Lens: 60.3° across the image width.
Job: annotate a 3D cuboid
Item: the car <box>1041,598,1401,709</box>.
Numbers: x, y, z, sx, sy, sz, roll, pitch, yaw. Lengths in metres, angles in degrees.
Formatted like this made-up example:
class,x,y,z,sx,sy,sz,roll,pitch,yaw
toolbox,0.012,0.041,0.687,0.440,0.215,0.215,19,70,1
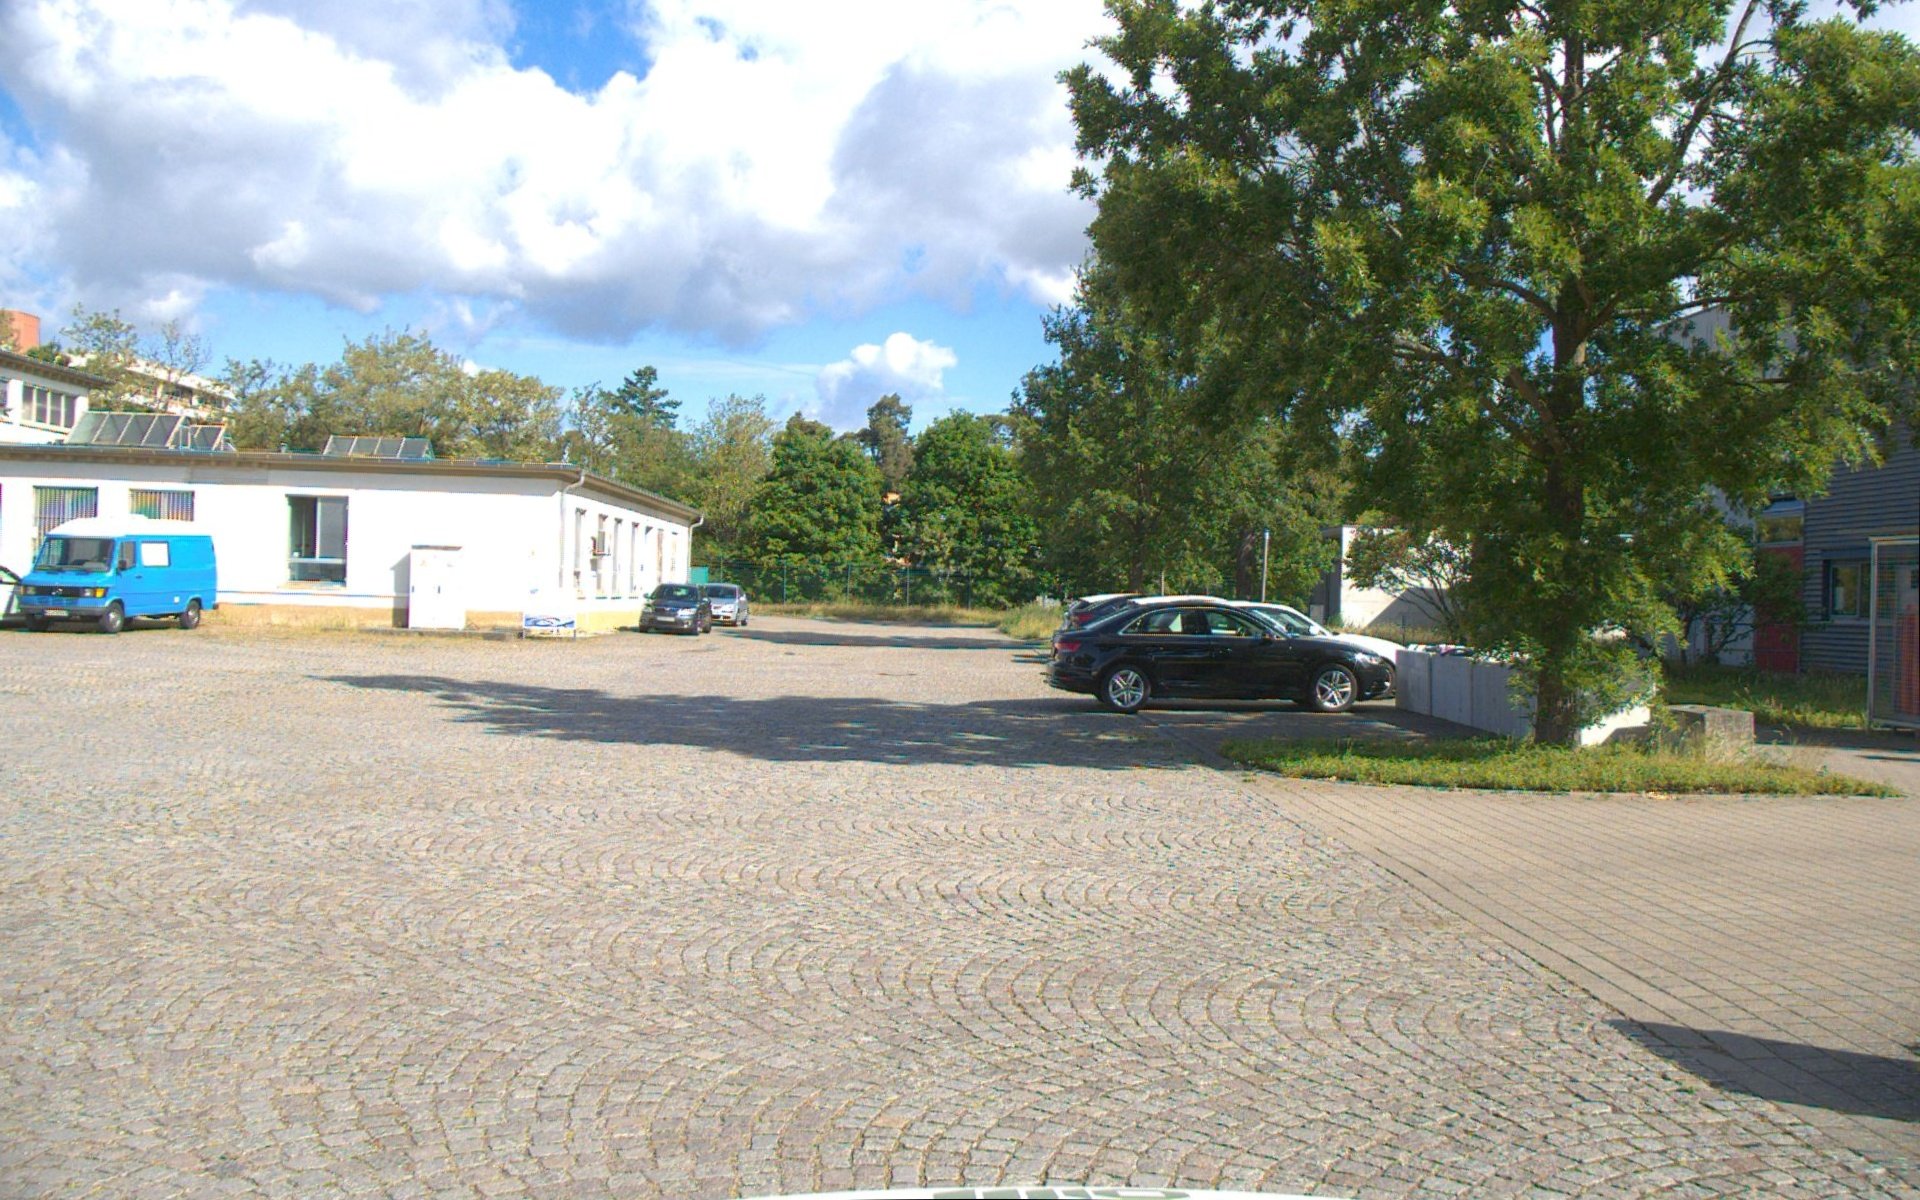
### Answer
class,x,y,z,sx,sy,sz,roll,pitch,yaw
car,3.489,0.707,22.625,4.624,1.448,1.756,0,0,-2

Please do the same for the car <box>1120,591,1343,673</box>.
class,x,y,z,sx,sy,sz,roll,pitch,yaw
car,4.965,0.572,30.606,3.832,1.472,1.755,0,0,-1

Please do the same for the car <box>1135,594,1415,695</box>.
class,x,y,z,sx,sy,sz,roll,pitch,yaw
car,4.759,0.650,25.387,4.051,1.485,1.692,0,0,4

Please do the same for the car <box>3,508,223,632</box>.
class,x,y,z,sx,sy,sz,roll,pitch,yaw
car,-18.767,-0.636,36.996,2.039,2.526,5.240,1,0,2

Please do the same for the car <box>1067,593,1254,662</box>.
class,x,y,z,sx,sy,sz,roll,pitch,yaw
car,4.269,0.570,35.587,3.832,1.442,1.692,0,0,-1

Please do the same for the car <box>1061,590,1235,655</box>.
class,x,y,z,sx,sy,sz,roll,pitch,yaw
car,4.297,0.499,38.241,3.832,1.460,1.795,0,0,-1

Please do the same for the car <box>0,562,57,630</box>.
class,x,y,z,sx,sy,sz,roll,pitch,yaw
car,-21.444,-0.090,35.787,1.696,1.430,3.740,1,1,1

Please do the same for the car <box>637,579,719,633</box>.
class,x,y,z,sx,sy,sz,roll,pitch,yaw
car,-8.293,0.166,48.953,1.727,1.460,3.991,2,0,0

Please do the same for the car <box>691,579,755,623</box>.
class,x,y,z,sx,sy,sz,roll,pitch,yaw
car,-8.405,0.025,58.908,1.652,1.460,3.986,2,0,0
